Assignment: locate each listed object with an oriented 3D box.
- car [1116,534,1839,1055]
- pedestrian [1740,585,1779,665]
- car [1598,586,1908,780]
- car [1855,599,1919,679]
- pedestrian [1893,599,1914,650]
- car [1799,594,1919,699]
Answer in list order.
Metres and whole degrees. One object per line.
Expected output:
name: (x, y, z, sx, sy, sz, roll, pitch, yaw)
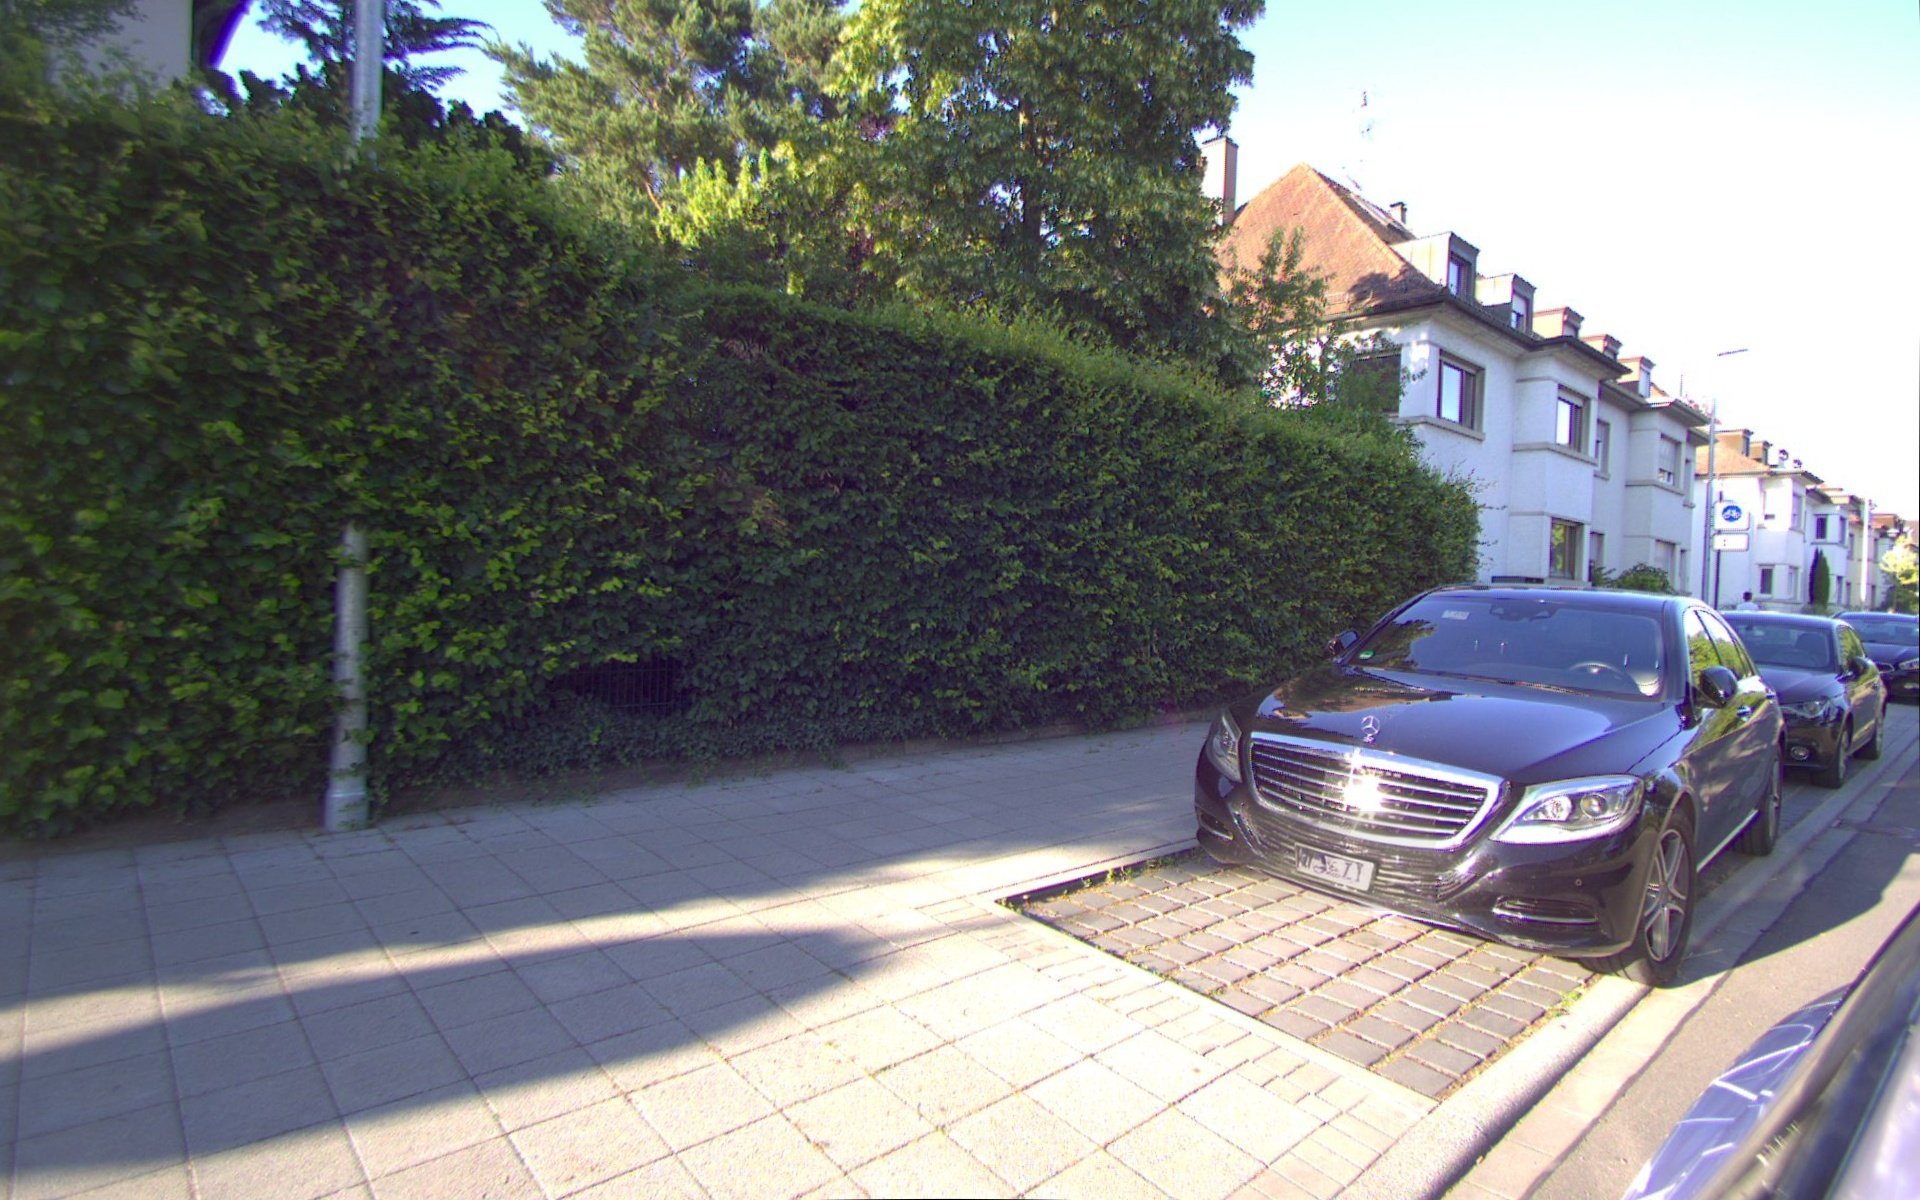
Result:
car: (3.123, 0.550, 5.428, 4.835, 1.517, 2.006, 1, 3, -45)
pedestrian: (19.177, 0.579, 24.277, 0.809, 1.869, 0.587, 0, 0, -41)
car: (7.770, 0.661, 9.788, 3.932, 1.496, 1.781, 1, -1, -43)
car: (19.958, 0.788, 20.975, 3.410, 1.554, 1.679, 1, -1, -41)
pedestrian: (34.024, 0.880, 36.493, 0.579, 1.821, 0.530, 1, -1, -44)
car: (15.876, 0.749, 17.358, 4.007, 1.616, 1.793, 1, -1, -43)
